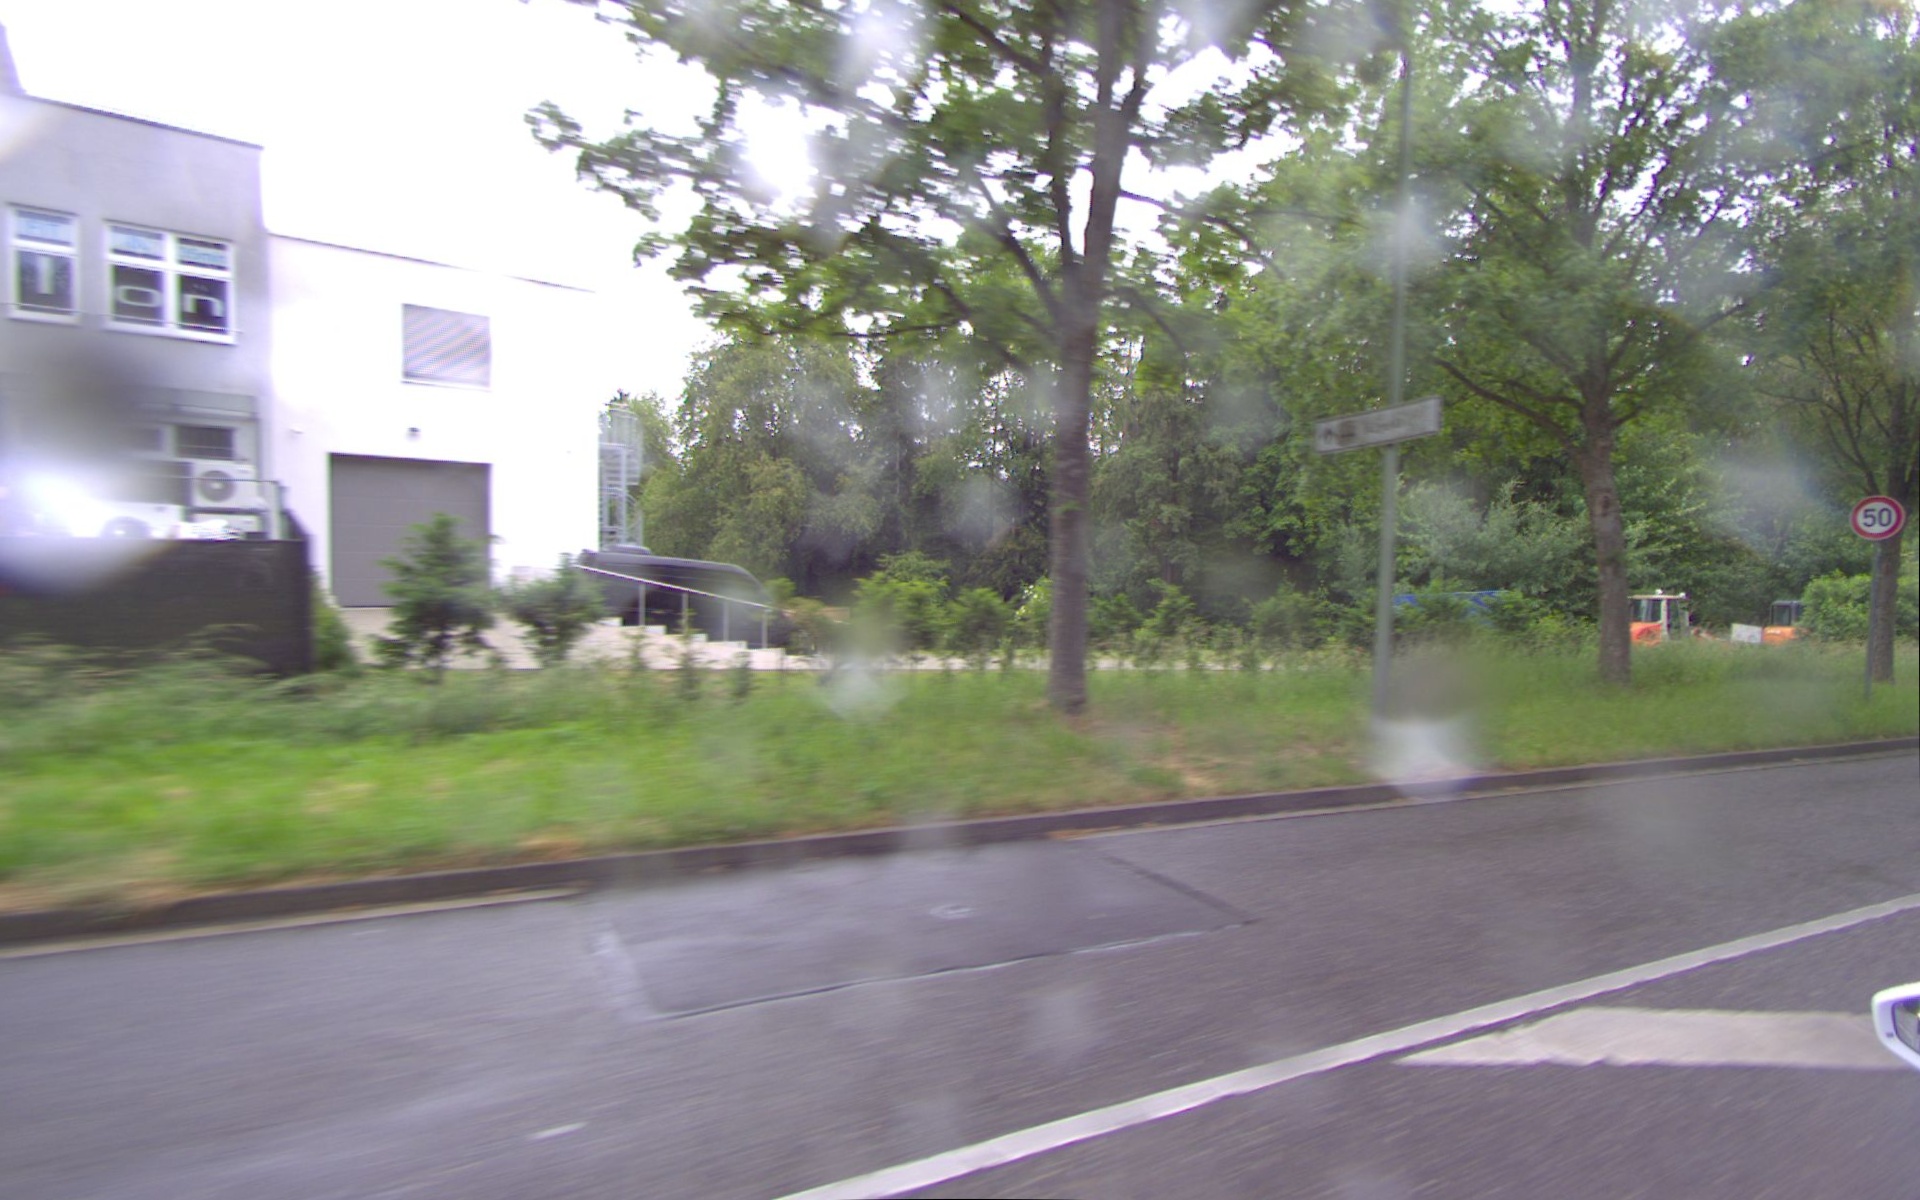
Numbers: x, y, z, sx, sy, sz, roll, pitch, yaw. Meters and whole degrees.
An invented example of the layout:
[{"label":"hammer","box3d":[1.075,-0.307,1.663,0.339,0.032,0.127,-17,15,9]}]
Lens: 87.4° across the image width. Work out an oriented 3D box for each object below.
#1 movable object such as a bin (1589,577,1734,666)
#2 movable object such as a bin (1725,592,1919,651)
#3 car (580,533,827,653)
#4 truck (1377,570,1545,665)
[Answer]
[{"label":"movable object such as a bin","box3d":[24.169,0.738,34.664,3.935,2.899,1.993,1,1,-16]},{"label":"movable object such as a bin","box3d":[31.576,0.754,35.426,7.751,1.933,1.852,1,1,0]},{"label":"car","box3d":[-6.022,-0.101,23.878,5.178,1.939,1.894,11,-5,-33]},{"label":"truck","box3d":[14.506,0.433,28.985,5.167,2.491,1.981,0,3,-33]}]
